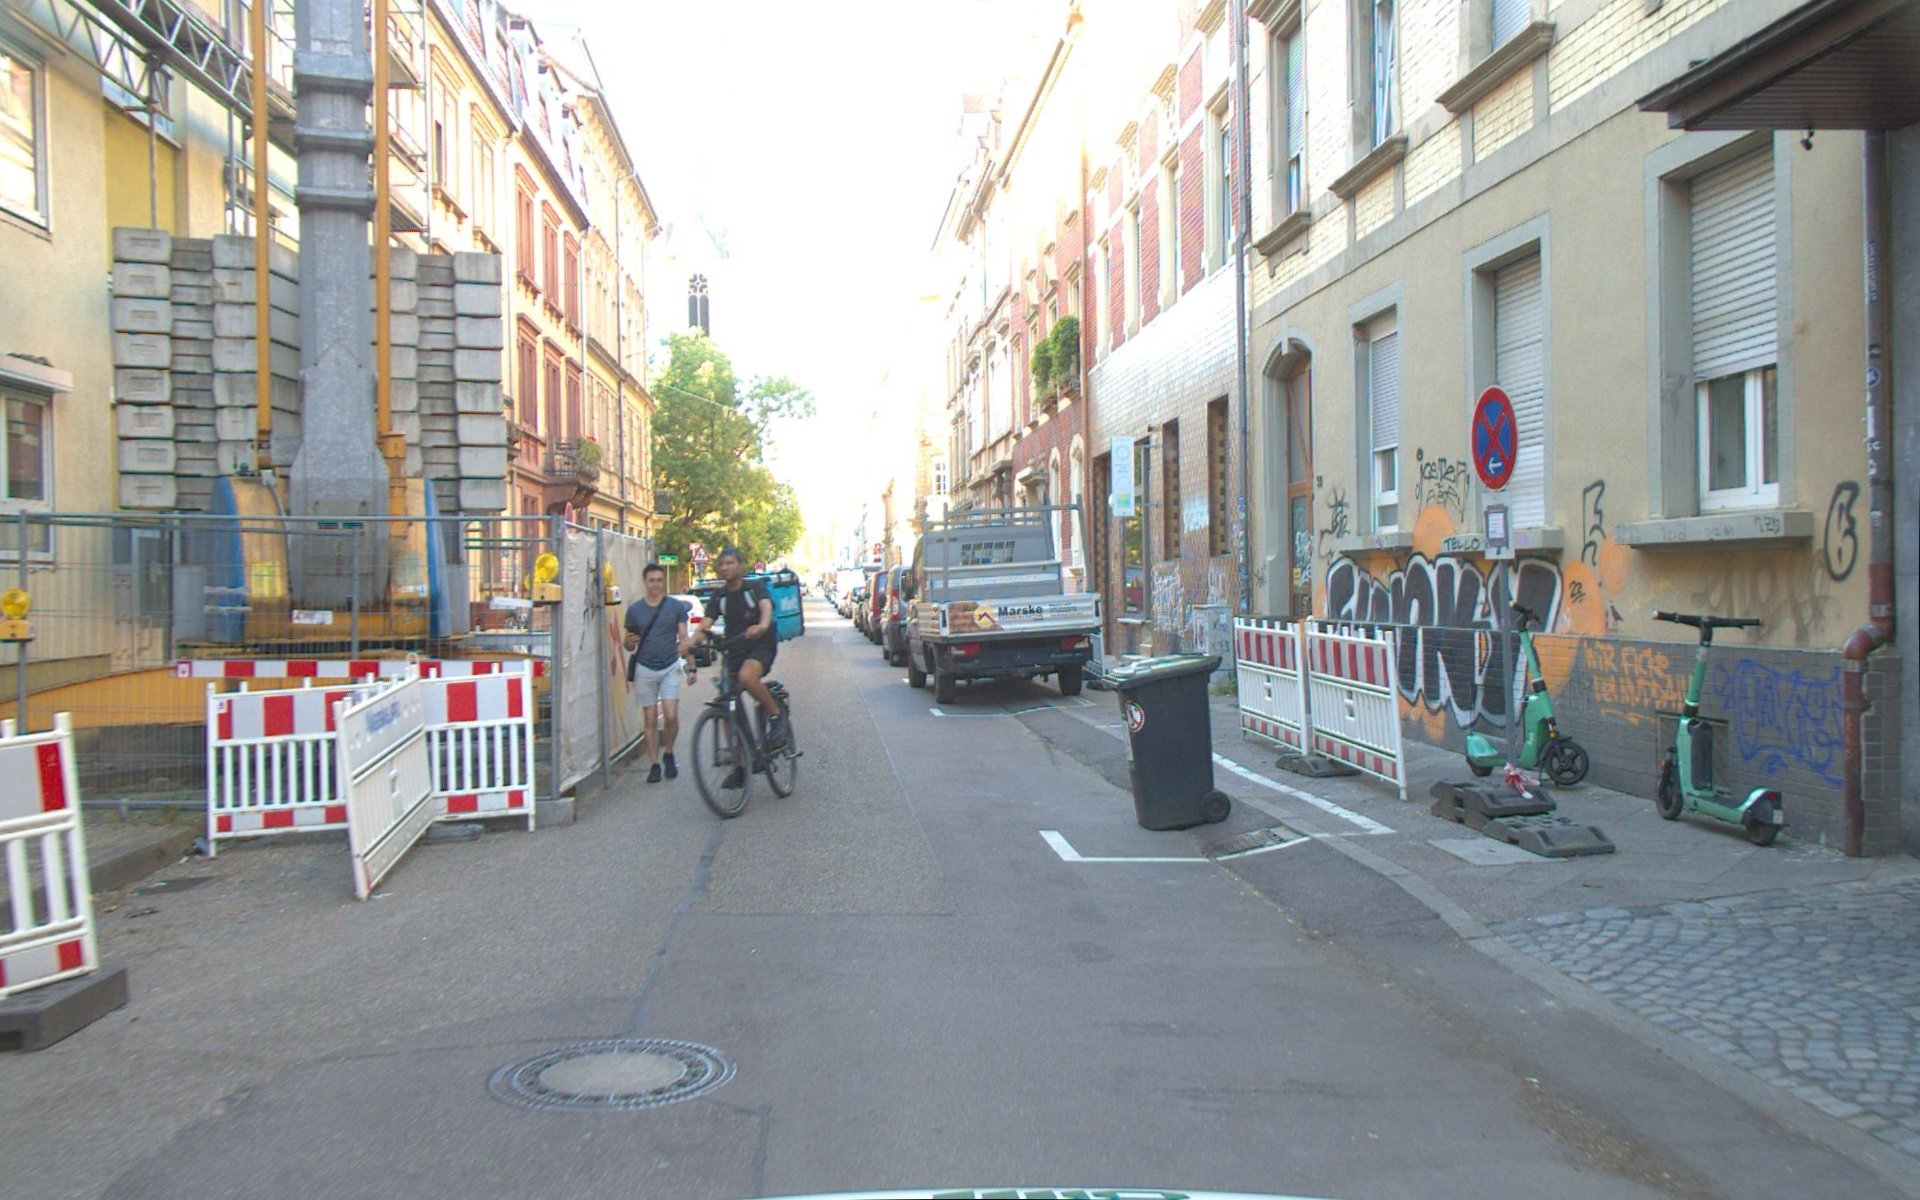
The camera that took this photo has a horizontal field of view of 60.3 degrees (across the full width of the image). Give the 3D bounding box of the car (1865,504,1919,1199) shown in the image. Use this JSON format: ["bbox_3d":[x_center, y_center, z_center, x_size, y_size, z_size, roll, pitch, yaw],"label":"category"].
[{"bbox_3d":[2.490,0.626,1.044,1.565,1.587,3.811,-2,1,-3],"label":"car"}]

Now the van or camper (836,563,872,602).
[{"bbox_3d":[-7.221,-1.187,112.083,1.957,2.552,4.193,-2,1,-9],"label":"van or camper"}]

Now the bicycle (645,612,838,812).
[{"bbox_3d":[-1.479,0.719,11.604,0.709,1.207,2.044,0,1,11],"label":"bicycle"}]

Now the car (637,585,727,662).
[{"bbox_3d":[-5.763,0.454,34.574,1.643,1.470,3.863,-2,0,-7],"label":"car"}]

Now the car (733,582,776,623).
[{"bbox_3d":[-10.091,0.107,81.328,1.955,1.881,3.995,-2,1,-6],"label":"car"}]

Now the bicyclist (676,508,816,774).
[{"bbox_3d":[-1.485,0.269,11.591,0.714,1.792,0.836,0,1,12],"label":"bicyclist"}]

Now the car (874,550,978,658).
[{"bbox_3d":[-0.747,0.055,33.375,1.643,1.997,4.102,-2,0,-7],"label":"car"}]

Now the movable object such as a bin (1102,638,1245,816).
[{"bbox_3d":[1.373,0.805,10.740,0.779,1.074,0.659,-1,1,-5],"label":"movable object such as a bin"}]

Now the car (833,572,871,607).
[{"bbox_3d":[-6.322,-0.614,96.490,1.955,1.881,3.995,-2,1,-6],"label":"car"}]

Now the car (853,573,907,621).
[{"bbox_3d":[-2.895,-0.105,59.243,1.643,1.598,3.863,-2,0,-7],"label":"car"}]

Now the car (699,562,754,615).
[{"bbox_3d":[-7.513,-0.382,53.465,1.643,1.598,3.863,-2,0,-7],"label":"car"}]

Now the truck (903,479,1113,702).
[{"bbox_3d":[0.511,-0.147,22.955,2.148,2.652,5.227,-2,1,-6],"label":"truck"}]

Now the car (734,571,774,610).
[{"bbox_3d":[-10.795,-0.500,86.785,1.955,1.881,3.995,-2,1,-6],"label":"car"}]

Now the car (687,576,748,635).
[{"bbox_3d":[-7.028,0.153,48.207,1.643,1.598,3.863,-2,0,-7],"label":"car"}]

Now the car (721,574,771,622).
[{"bbox_3d":[-7.570,-0.087,58.667,1.643,1.598,3.863,-2,0,-7],"label":"car"}]

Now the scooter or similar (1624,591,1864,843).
[{"bbox_3d":[4.149,0.569,8.862,0.410,1.199,1.494,-3,1,-5],"label":"scooter or similar"}]

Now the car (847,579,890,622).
[{"bbox_3d":[-4.645,-0.001,83.599,1.955,2.048,3.995,-2,1,-6],"label":"car"}]

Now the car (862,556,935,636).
[{"bbox_3d":[-1.741,-0.116,45.820,1.643,2.066,3.863,-2,0,-7],"label":"car"}]

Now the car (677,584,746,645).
[{"bbox_3d":[-6.473,0.355,43.353,1.643,1.470,3.863,-2,0,-7],"label":"car"}]

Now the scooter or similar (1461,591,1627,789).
[{"bbox_3d":[3.862,0.554,11.042,0.410,1.199,1.494,-3,1,-5],"label":"scooter or similar"}]

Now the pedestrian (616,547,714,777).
[{"bbox_3d":[-2.344,0.478,13.204,0.645,1.763,0.719,-2,0,-5],"label":"pedestrian"}]
